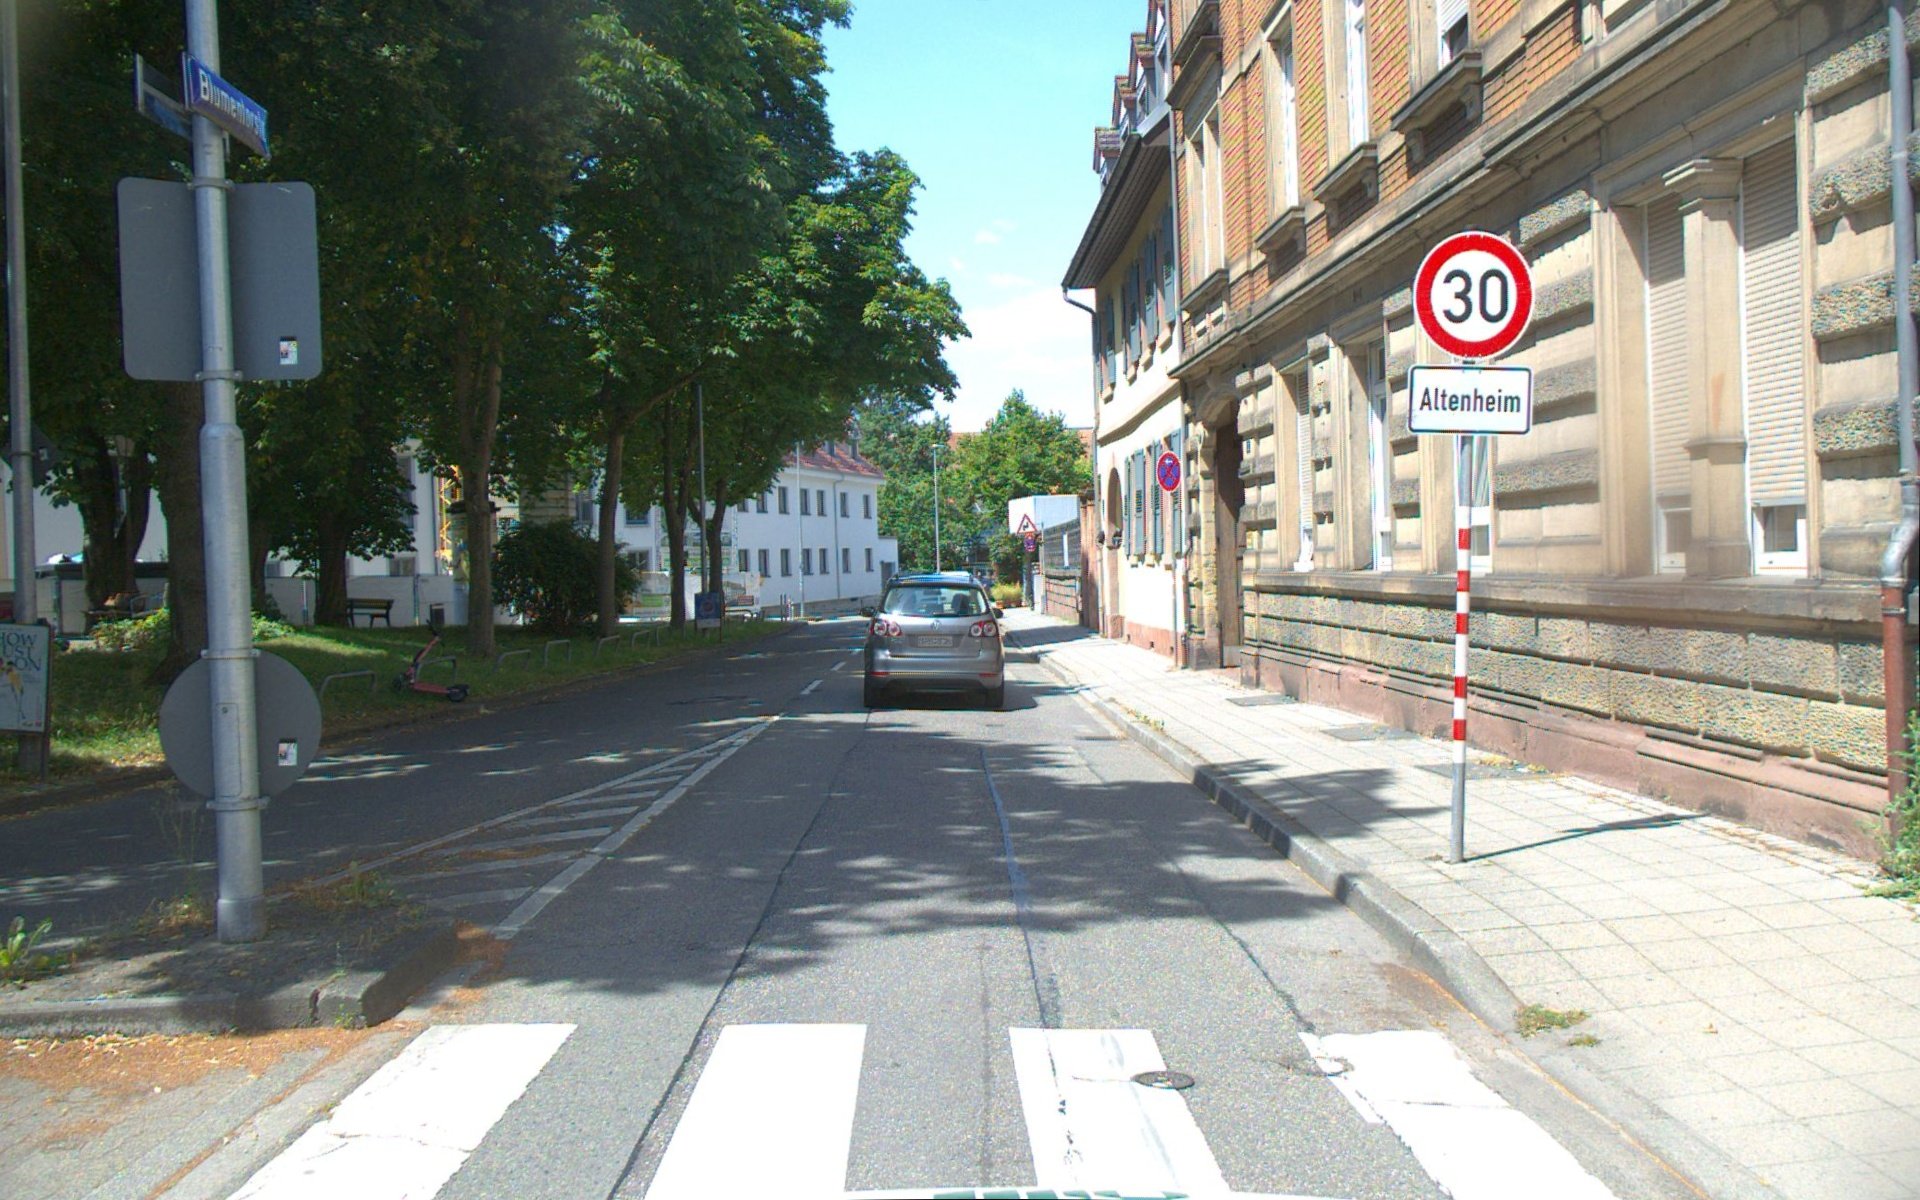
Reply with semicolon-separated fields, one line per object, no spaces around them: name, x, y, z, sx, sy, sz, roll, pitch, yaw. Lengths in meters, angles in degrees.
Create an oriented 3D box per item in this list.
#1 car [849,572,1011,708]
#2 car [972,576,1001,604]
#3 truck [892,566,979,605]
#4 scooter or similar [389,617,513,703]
car;-0.320;0.429;21.239;1.864;1.560;4.244;0;1;1
car;1.604;-0.600;99.450;1.613;1.601;3.639;-1;1;-1
truck;-1.439;-0.844;94.559;4.704;2.048;2.142;-2;1;-8
scooter or similar;-7.100;0.826;23.165;1.247;1.008;1.451;6;0;-3
